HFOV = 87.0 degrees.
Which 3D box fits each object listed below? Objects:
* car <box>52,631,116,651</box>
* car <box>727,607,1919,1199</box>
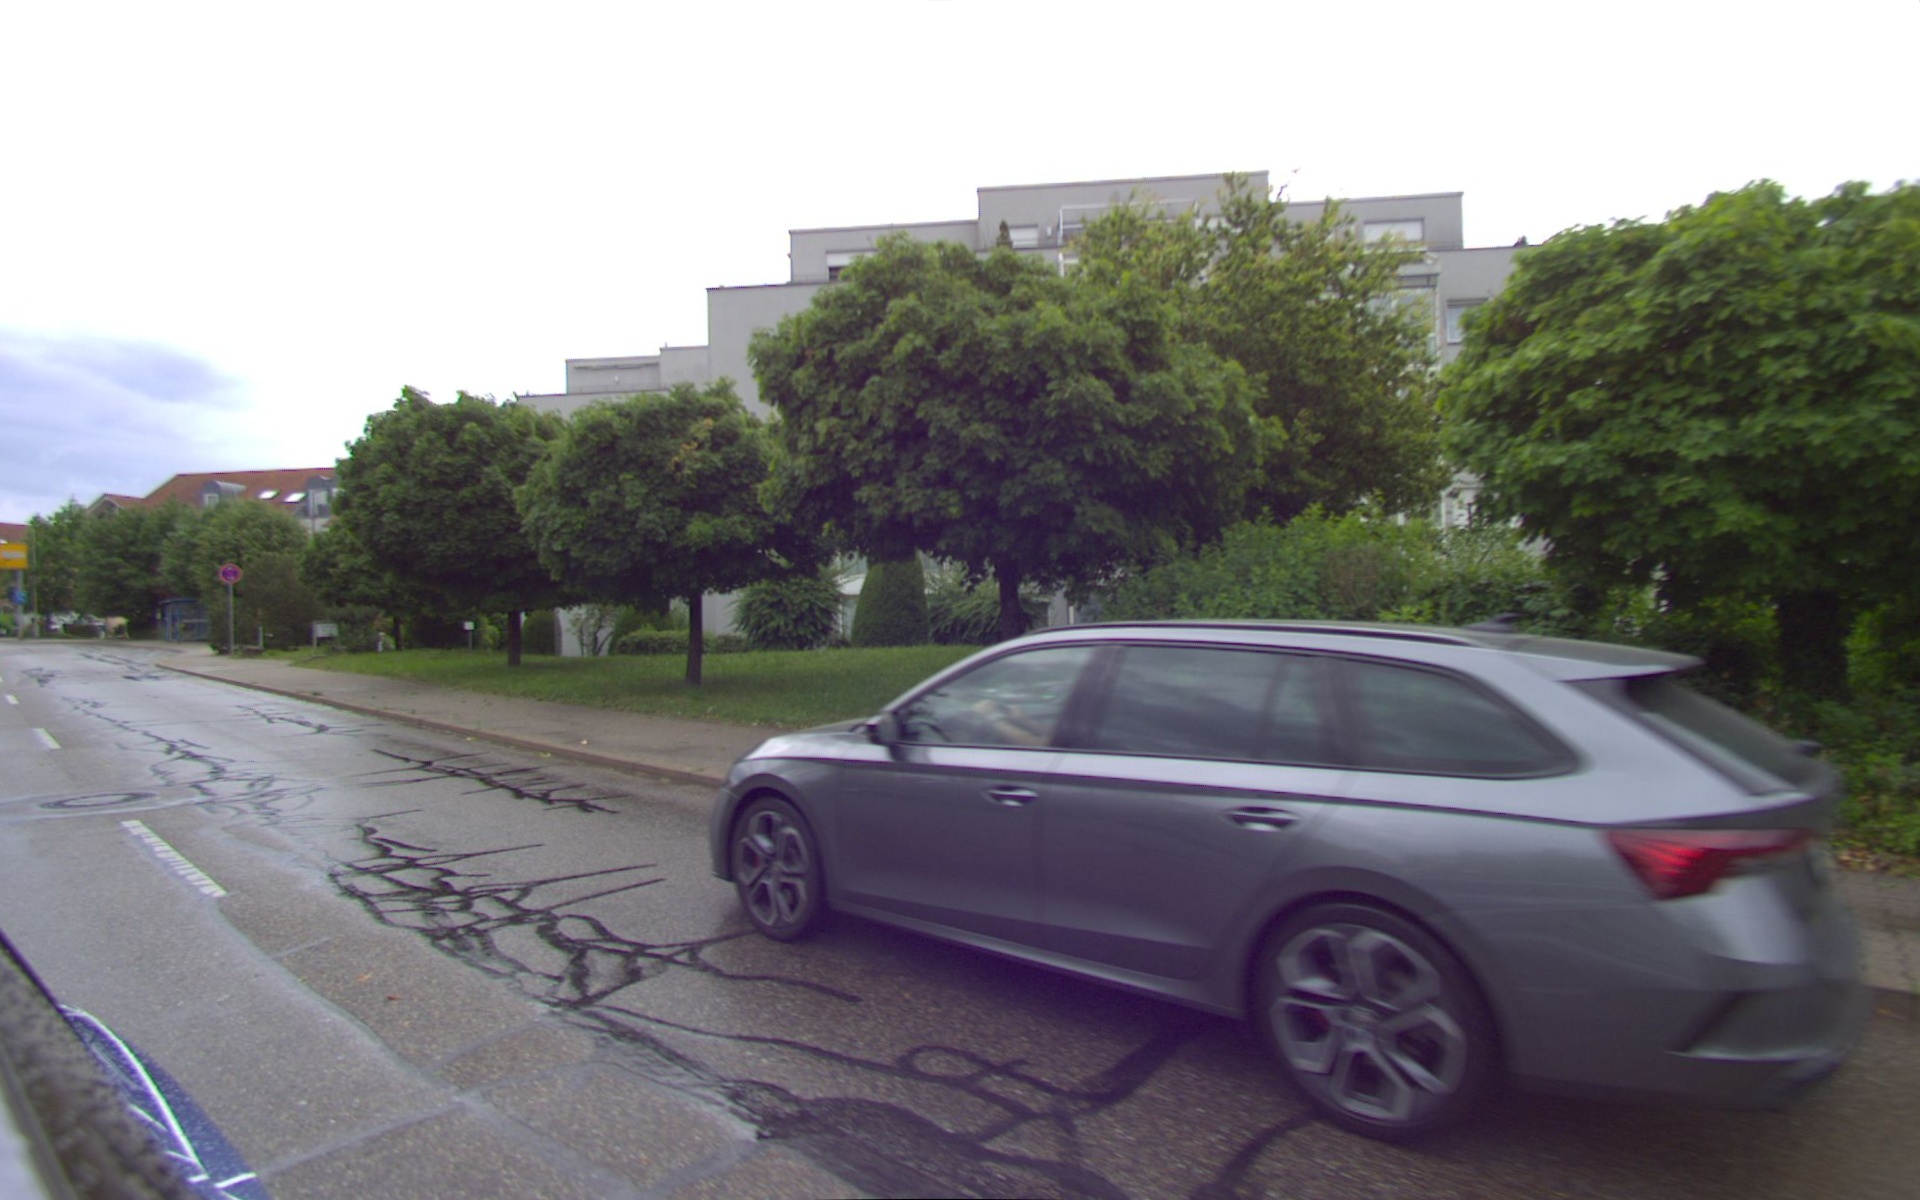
[{"bbox_3d":[-72.343,3.370,83.578,3.948,1.613,1.736,-1,-1,4],"label":"car"},{"bbox_3d":[1.051,0.780,3.958,4.140,1.425,1.722,-1,-1,41],"label":"car"}]
